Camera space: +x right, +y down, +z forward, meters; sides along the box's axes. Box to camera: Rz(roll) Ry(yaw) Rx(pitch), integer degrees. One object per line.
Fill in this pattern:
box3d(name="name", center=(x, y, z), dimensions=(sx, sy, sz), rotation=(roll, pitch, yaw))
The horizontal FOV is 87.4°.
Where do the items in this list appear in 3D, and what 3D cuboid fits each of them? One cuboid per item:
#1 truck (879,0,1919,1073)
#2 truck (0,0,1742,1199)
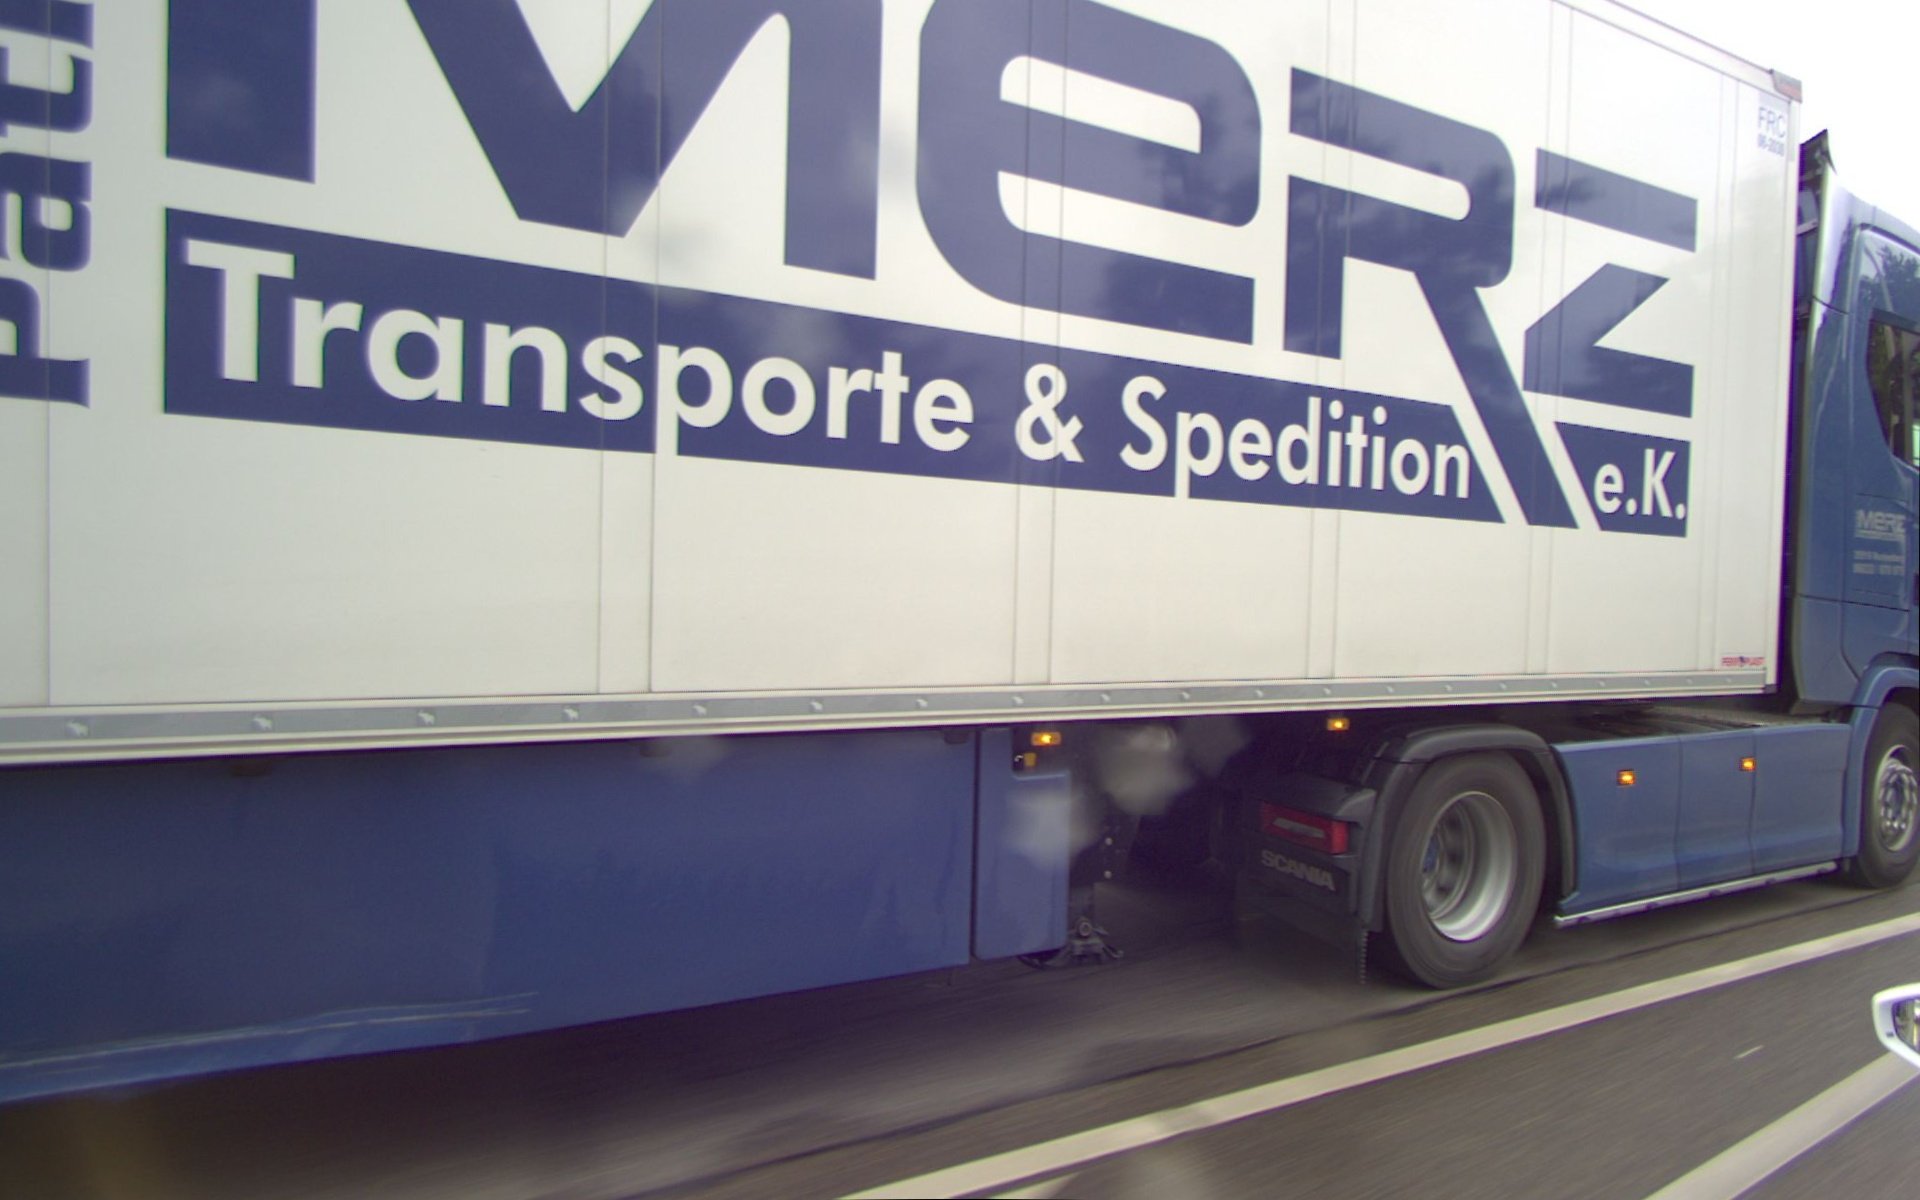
box3d(name="truck", center=(3.189, -0.578, 5.881), dimensions=(6.700, 4.252, 2.751), rotation=(2, -1, -28))
box3d(name="truck", center=(-2.982, -0.780, 2.755), dimensions=(12.859, 4.252, 2.753), rotation=(2, -1, -26))
